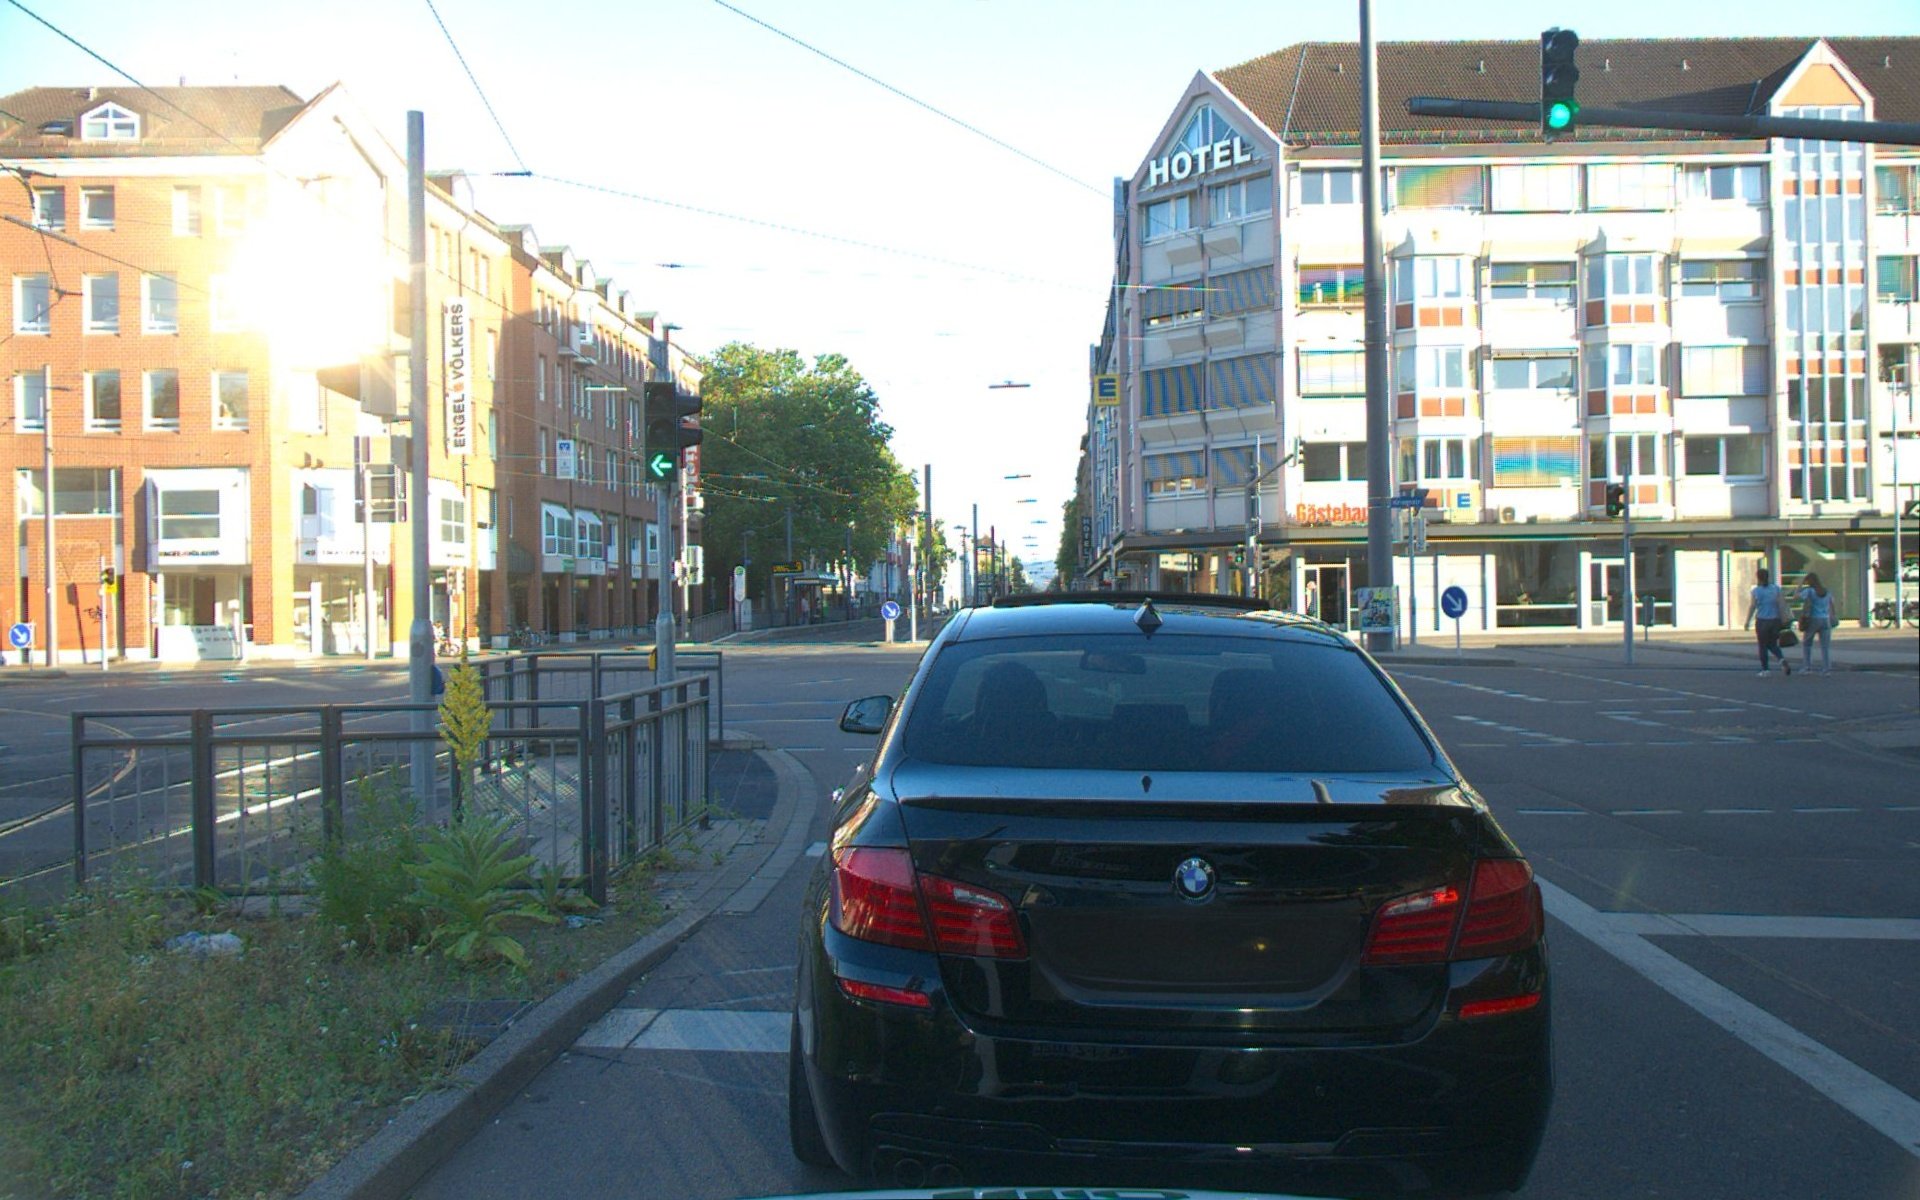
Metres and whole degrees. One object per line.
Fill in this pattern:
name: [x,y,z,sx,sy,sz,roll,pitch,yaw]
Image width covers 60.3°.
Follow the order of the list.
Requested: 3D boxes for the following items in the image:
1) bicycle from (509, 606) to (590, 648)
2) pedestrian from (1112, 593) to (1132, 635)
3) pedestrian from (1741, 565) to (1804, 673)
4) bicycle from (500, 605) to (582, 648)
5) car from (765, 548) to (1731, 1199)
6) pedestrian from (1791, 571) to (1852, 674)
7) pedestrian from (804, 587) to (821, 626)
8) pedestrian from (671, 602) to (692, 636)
bicycle: [-18.030,1.171,72.647,3.229,1.756,1.069,-1,0,1]
pedestrian: [6.201,0.538,63.328,0.691,1.575,0.907,0,3,-1]
pedestrian: [12.909,0.303,26.280,0.713,1.678,0.768,-2,0,38]
bicycle: [-18.097,1.144,71.479,3.228,1.756,1.070,-1,0,3]
car: [0.514,0.678,5.249,1.803,1.521,4.291,1,0,-1]
pedestrian: [13.827,0.352,26.550,0.692,1.610,0.822,-2,0,38]
pedestrian: [-7.922,0.352,88.950,0.792,2.049,0.678,-1,0,-1]
pedestrian: [-17.050,1.177,101.318,1.063,2.049,1.084,-1,0,-2]
